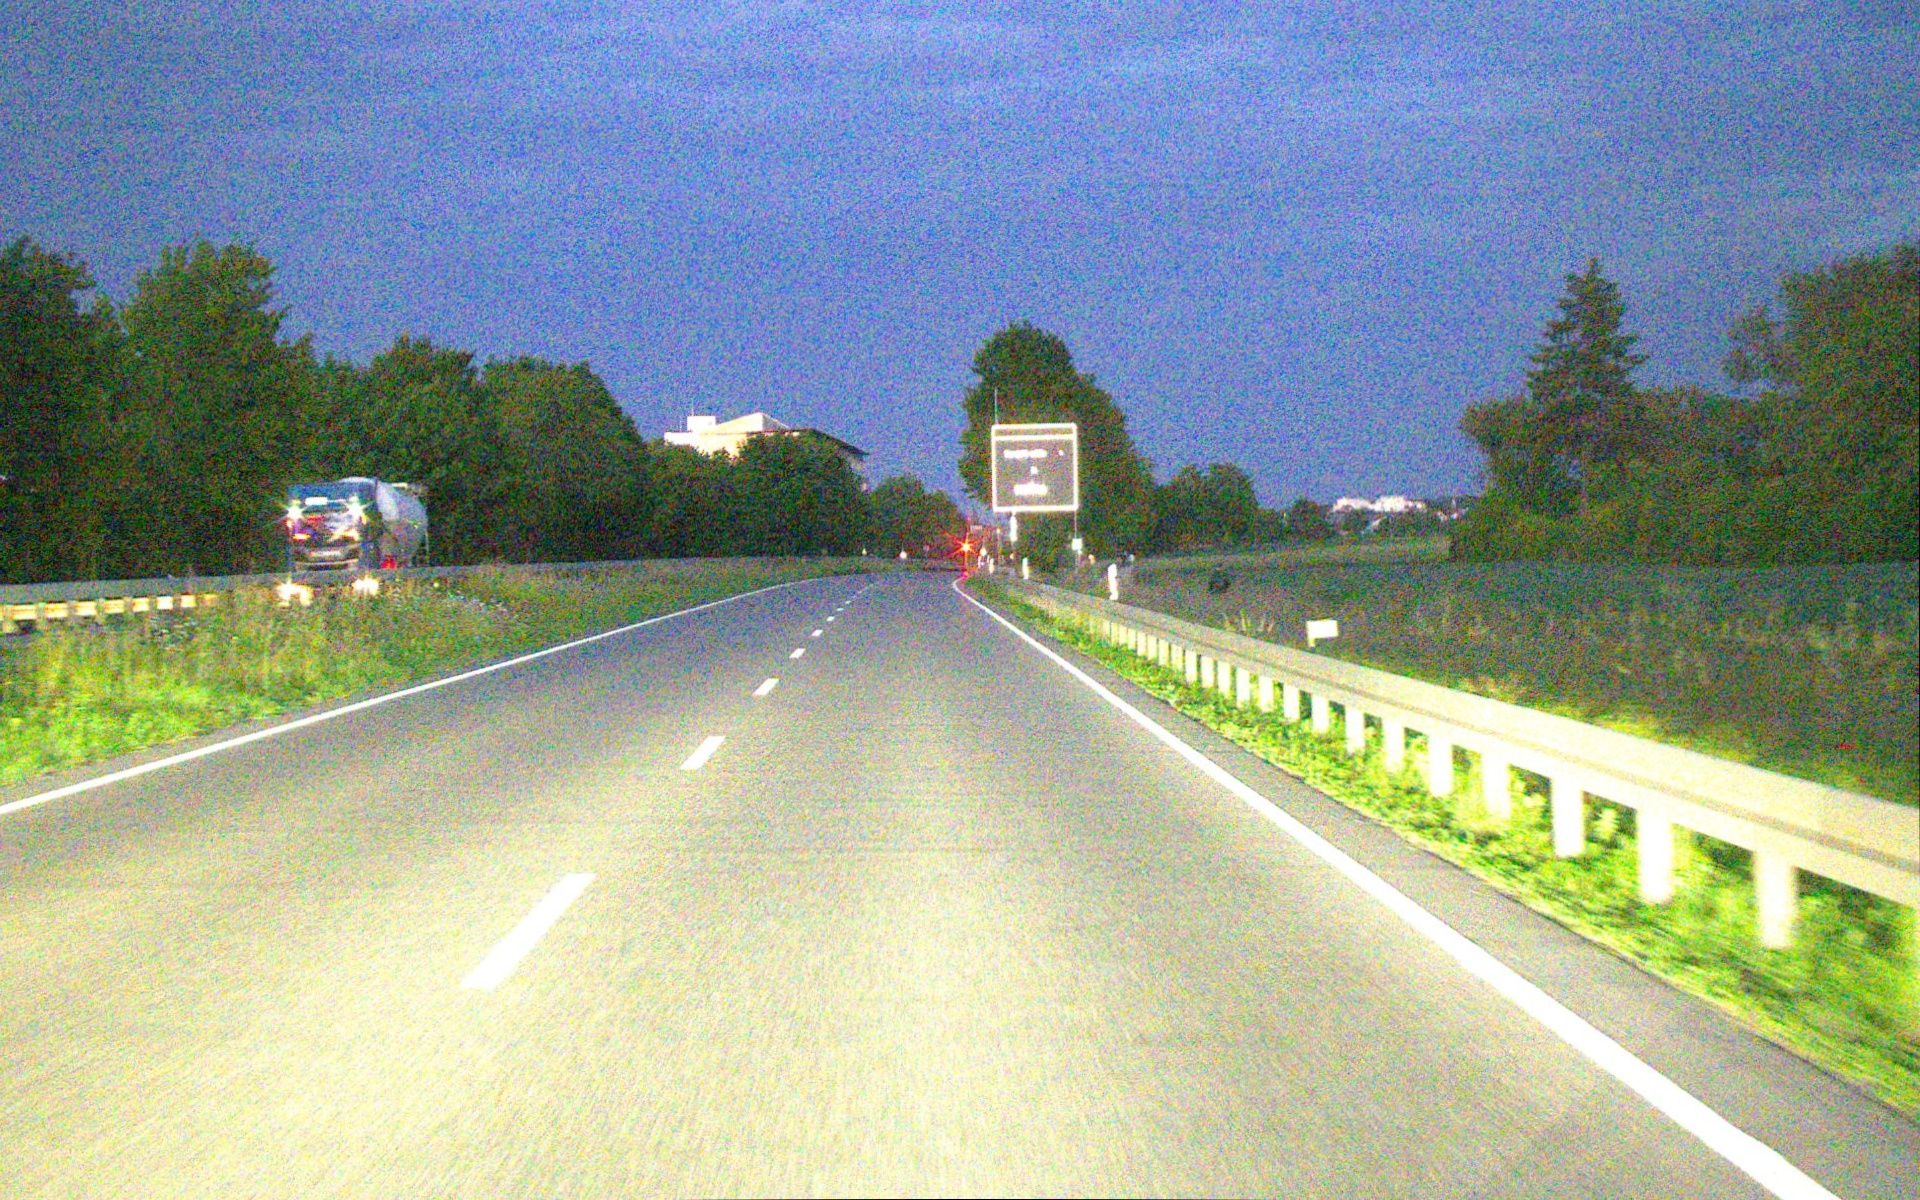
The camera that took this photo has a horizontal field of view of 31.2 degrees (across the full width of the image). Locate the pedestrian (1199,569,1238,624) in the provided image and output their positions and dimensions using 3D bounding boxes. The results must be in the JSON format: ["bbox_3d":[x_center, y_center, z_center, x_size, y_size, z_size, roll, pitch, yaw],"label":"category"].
[{"bbox_3d":[7.790,-0.109,103.593,1.062,1.637,1.118,0,0,0],"label":"pedestrian"}]

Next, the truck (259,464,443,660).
[{"bbox_3d":[-17.620,-1.166,100.419,3.202,5.237,12.611,-2,1,-1],"label":"truck"}]
